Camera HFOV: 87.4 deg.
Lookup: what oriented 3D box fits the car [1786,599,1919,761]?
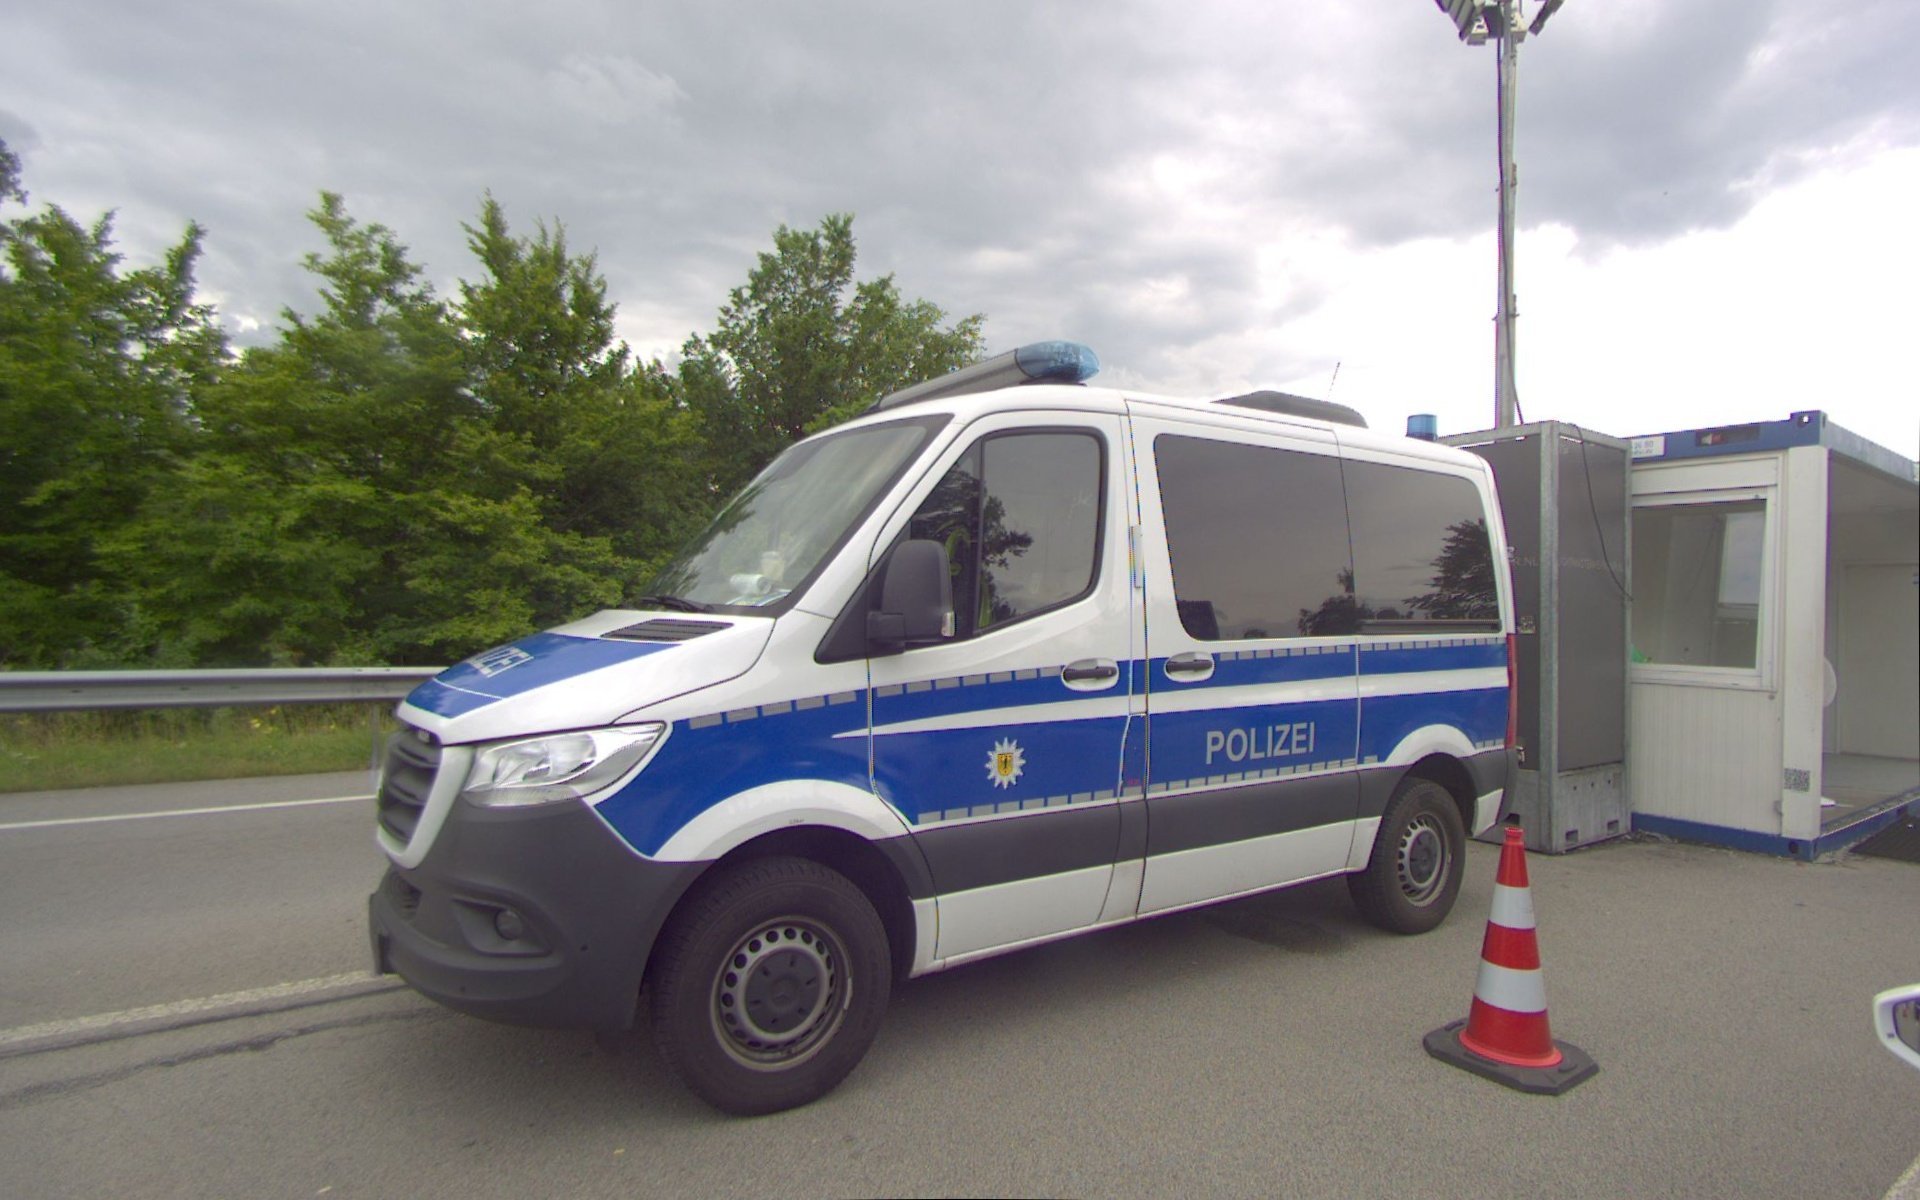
[{"bbox_3d":[12.015,0.924,12.332,3.967,1.767,1.857,1,0,-34],"label":"car"}]

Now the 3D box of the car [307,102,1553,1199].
[{"bbox_3d":[0.251,0.240,4.447,5.224,2.496,2.017,1,0,-34],"label":"car"}]
